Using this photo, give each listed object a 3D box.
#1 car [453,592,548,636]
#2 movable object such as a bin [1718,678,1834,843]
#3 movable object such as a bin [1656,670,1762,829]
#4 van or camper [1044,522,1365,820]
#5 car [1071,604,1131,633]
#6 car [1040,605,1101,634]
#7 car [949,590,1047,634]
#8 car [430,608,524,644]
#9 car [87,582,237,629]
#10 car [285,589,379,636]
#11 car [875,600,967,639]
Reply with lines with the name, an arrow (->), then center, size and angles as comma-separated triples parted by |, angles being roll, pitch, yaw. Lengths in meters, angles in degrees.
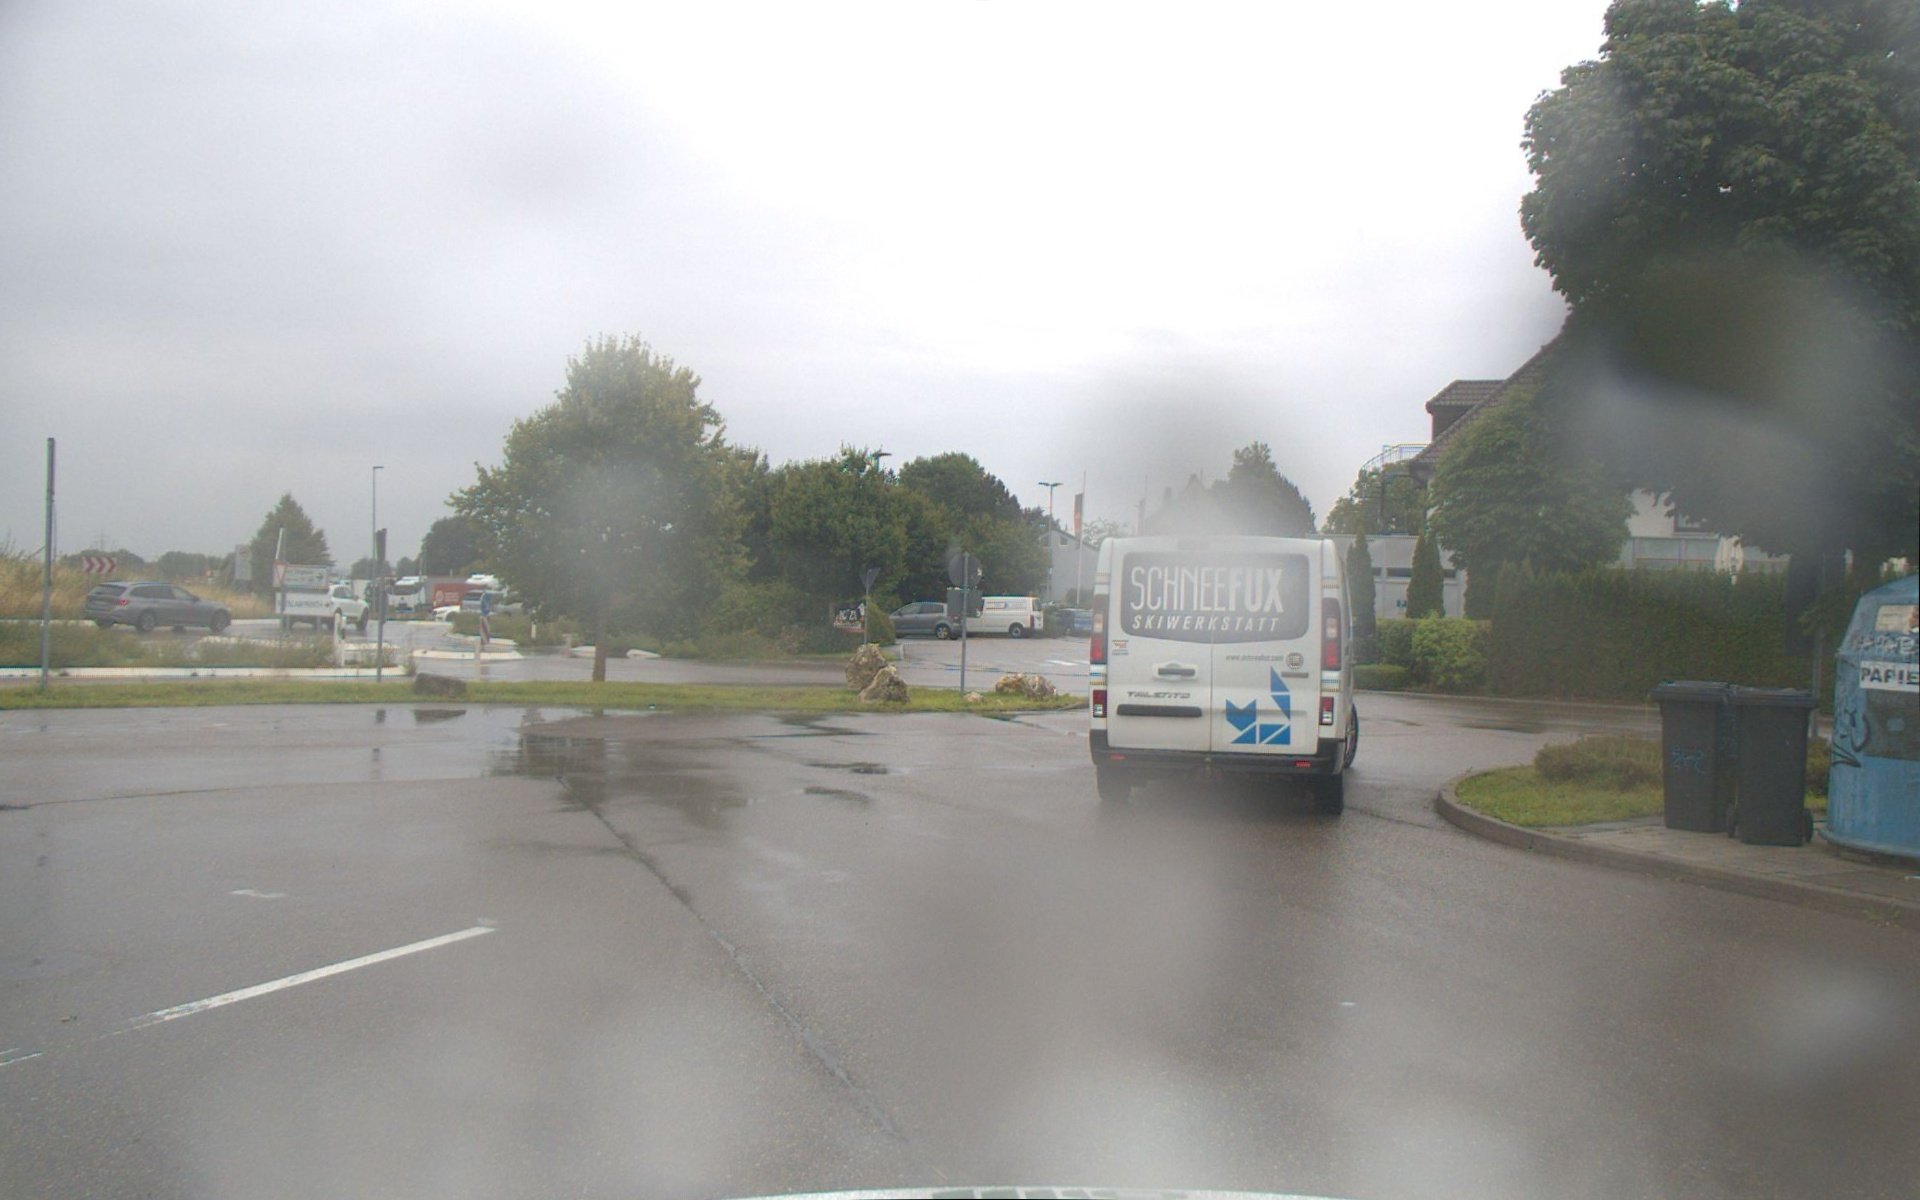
car -> -20.512, 0.618, 74.066 | 1.951, 1.906, 4.648 | 1, 0, 16
movable object such as a bin -> 4.876, 0.948, 9.898 | 0.439, 0.933, 0.489 | 1, 0, -1
movable object such as a bin -> 4.716, 0.931, 10.428 | 0.439, 0.955, 0.489 | 1, 0, -1
van or camper -> 2.251, 0.494, 13.768 | 2.141, 1.979, 5.201 | 1, -1, 14
car -> 7.585, 1.001, 89.419 | 1.562, 1.483, 3.647 | 0, 0, -28
car -> 5.791, 0.998, 87.171 | 1.533, 1.483, 3.647 | 0, 0, -28
car -> 1.853, 0.568, 80.517 | 4.425, 2.069, 1.646 | 1, 0, 18
car -> -24.849, 1.355, 85.135 | 4.328, 1.789, 1.722 | 1, -1, -42
car -> -24.247, 0.167, 50.393 | 1.654, 1.349, 4.043 | 1, 0, 22
car -> -22.464, 0.427, 59.348 | 1.653, 1.612, 4.386 | 1, 0, 1
car -> -1.679, 0.832, 71.176 | 3.654, 1.578, 1.451 | 1, 0, 18
